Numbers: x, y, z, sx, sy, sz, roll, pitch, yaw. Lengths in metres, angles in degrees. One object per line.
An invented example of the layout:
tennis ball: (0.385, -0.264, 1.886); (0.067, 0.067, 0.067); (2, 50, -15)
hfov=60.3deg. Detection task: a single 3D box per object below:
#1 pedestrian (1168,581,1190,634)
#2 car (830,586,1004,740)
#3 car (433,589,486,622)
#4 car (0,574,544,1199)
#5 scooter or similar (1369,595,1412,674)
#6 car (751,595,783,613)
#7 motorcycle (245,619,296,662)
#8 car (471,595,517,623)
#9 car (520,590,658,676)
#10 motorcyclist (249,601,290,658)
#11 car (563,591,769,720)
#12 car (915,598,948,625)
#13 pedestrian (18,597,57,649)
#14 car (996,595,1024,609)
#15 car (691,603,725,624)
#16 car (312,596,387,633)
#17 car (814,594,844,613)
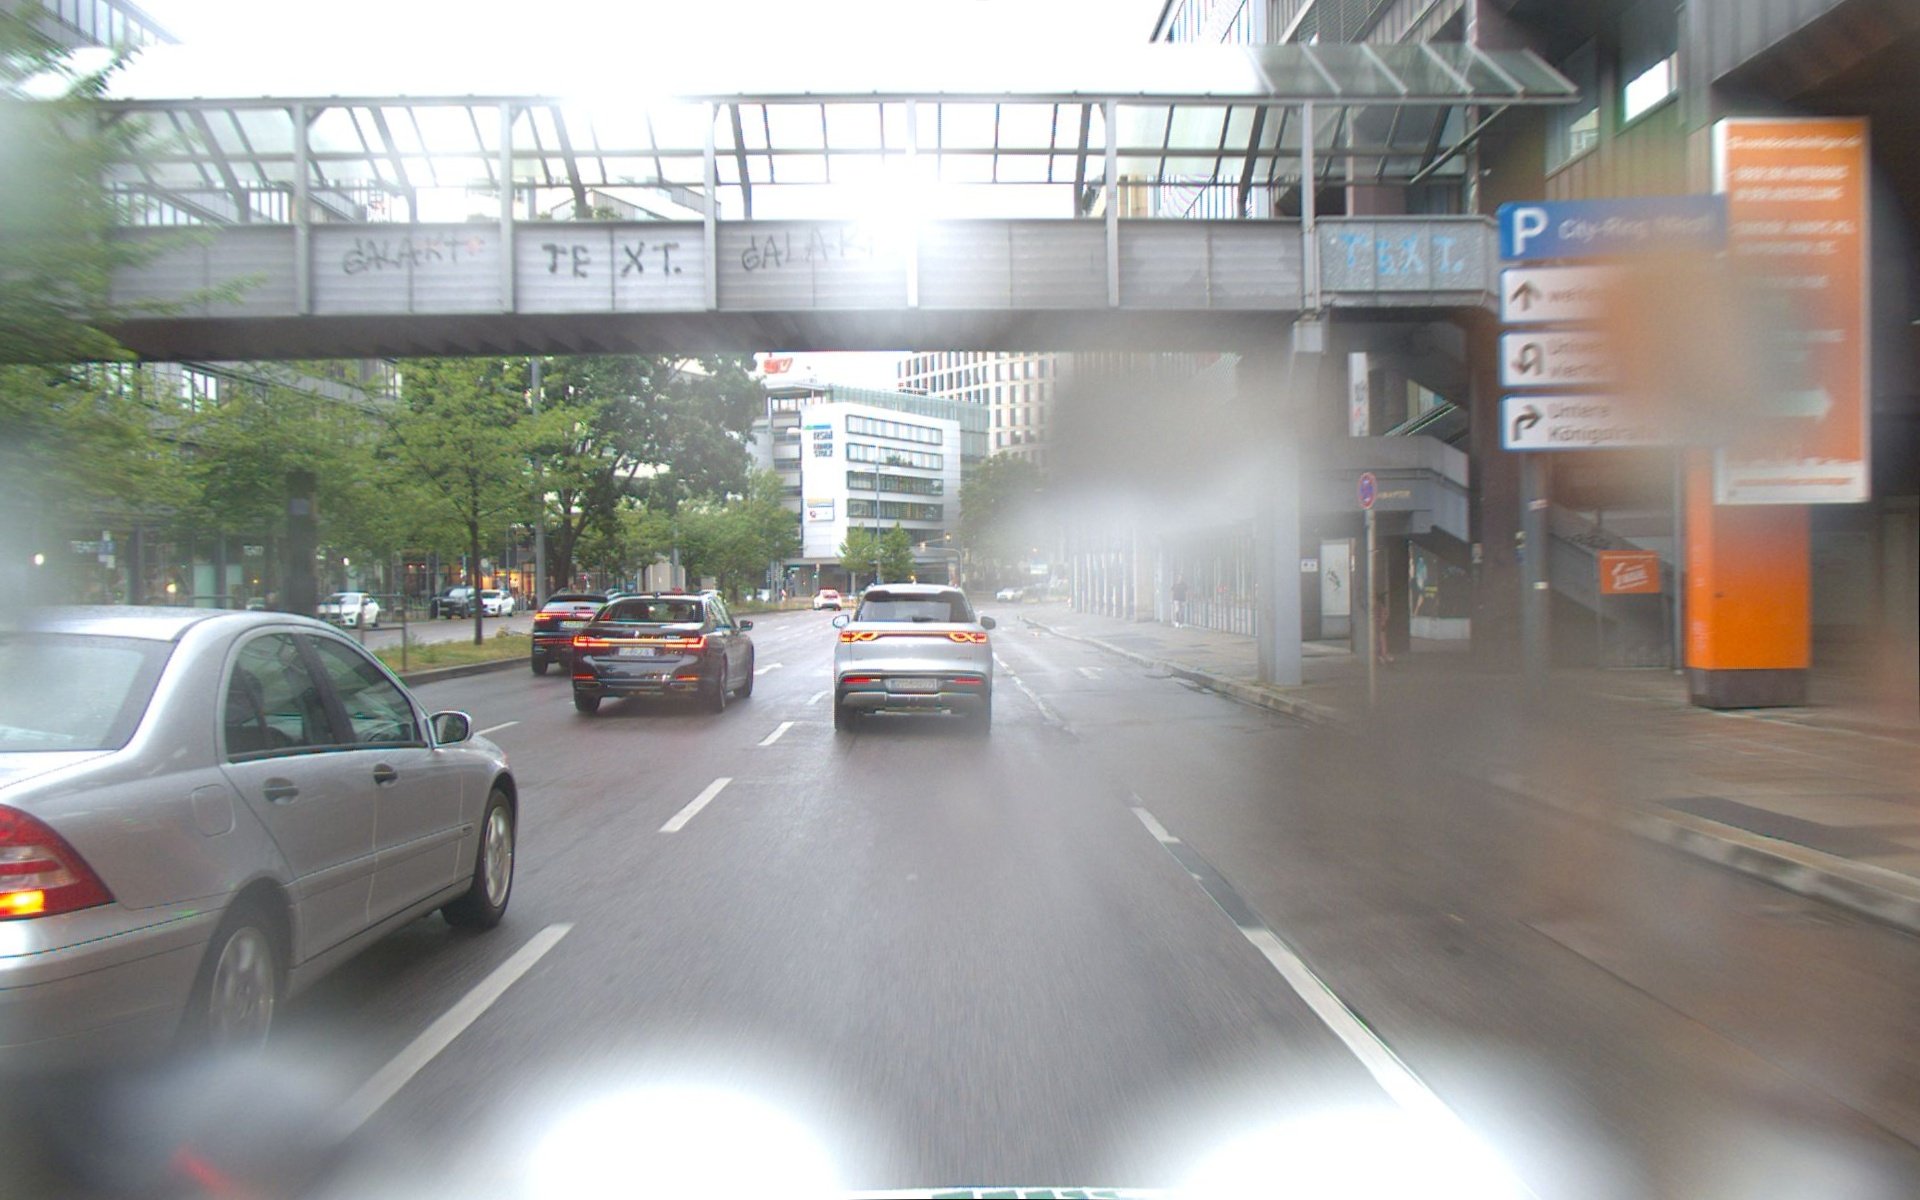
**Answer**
pedestrian: (7.469, 0.261, 56.410); (0.622, 1.803, 0.789); (-1, -1, -1)
car: (-0.496, 0.676, 19.723); (1.862, 1.650, 3.999); (0, 0, -1)
car: (-25.415, 0.244, 84.132); (1.591, 1.639, 4.230); (1, 0, -3)
car: (-2.803, 0.707, 5.775); (1.638, 1.505, 4.359); (0, 0, -1)
scooter or similar: (7.227, 0.563, 27.805); (0.342, 1.278, 1.394); (0, 0, -1)
car: (-16.406, 0.350, 140.998); (1.589, 1.478, 4.165); (-1, 0, 10)
motorcycle: (-17.682, 1.029, 42.433); (0.572, 1.039, 1.805); (-1, 0, -1)
car: (-25.465, 0.459, 90.510); (1.591, 1.486, 3.961); (1, 0, -3)
car: (-6.861, 0.597, 30.979); (1.738, 1.482, 3.999); (-1, 0, -1)
motorcyclist: (-17.682, 0.756, 42.381); (0.625, 1.443, 0.970); (-1, -1, -1)
car: (-3.803, 0.709, 22.231); (1.834, 1.505, 4.878); (-1, -1, 0)
car: (-1.736, 0.697, 101.138); (1.774, 1.606, 4.002); (0, 0, 3)
pedestrian: (-31.380, 0.781, 56.268); (0.728, 1.745, 1.056); (-1, 0, -2)
car: (5.720, 0.199, 190.091); (1.551, 1.565, 3.993); (0, 0, 29)
car: (-19.022, 0.998, 125.089); (1.589, 1.518, 4.309); (-1, 0, 4)
car: (-24.901, 0.584, 67.608); (1.591, 1.458, 4.443); (-1, 0, -3)
car: (-9.732, 0.238, 122.611); (1.625, 1.365, 3.986); (0, 0, -13)
